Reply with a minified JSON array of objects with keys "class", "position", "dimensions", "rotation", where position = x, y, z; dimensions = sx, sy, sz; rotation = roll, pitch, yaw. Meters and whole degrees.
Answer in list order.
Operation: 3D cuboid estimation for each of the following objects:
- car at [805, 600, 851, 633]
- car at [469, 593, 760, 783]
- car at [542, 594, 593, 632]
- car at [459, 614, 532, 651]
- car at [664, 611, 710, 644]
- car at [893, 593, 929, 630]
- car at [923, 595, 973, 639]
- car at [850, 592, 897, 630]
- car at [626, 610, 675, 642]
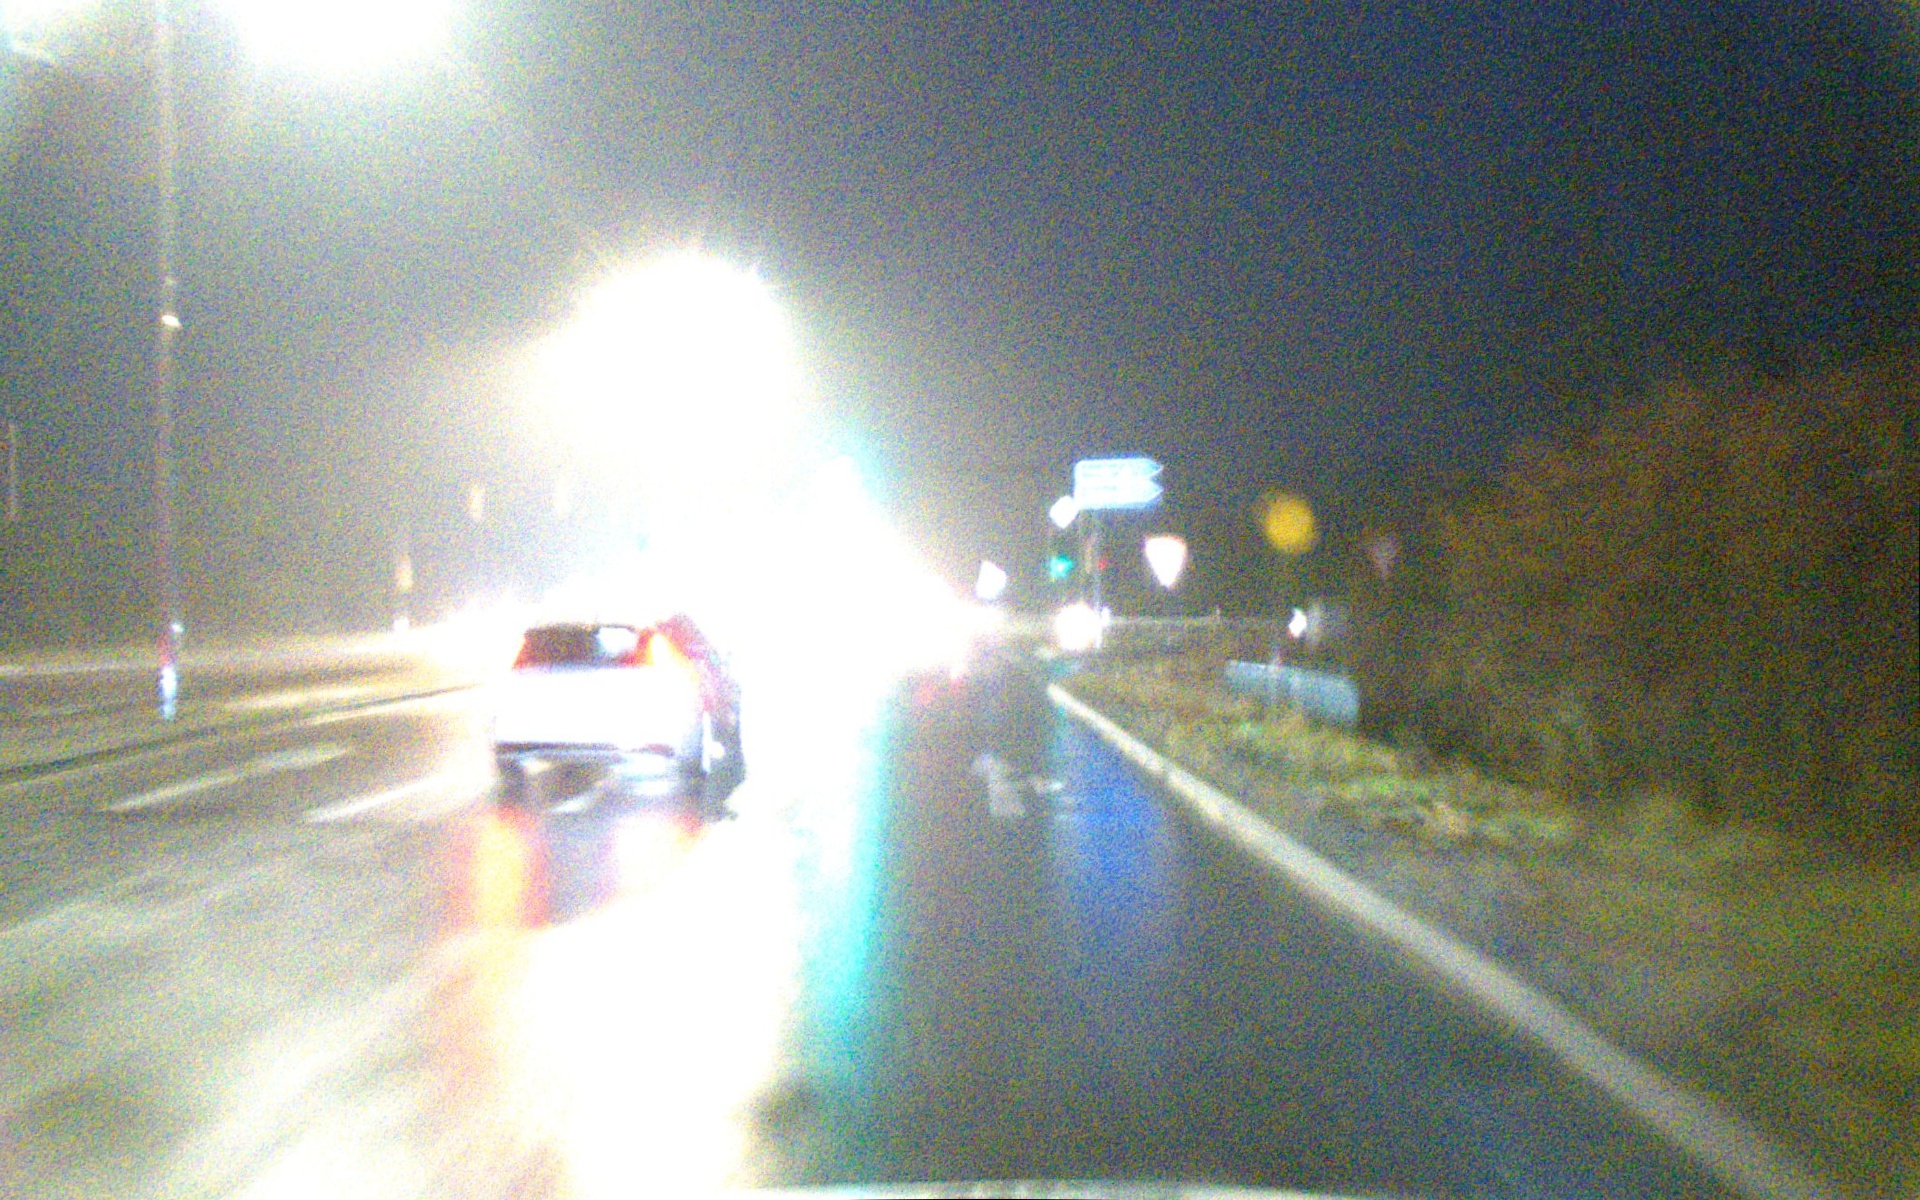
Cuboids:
[{"class":"car","position":[-7.722,1.010,97.096],"dimensions":[2.132,1.629,4.000],"rotation":[4,-3,3]},{"class":"car","position":[-2.961,0.693,15.072],"dimensions":[1.759,1.477,4.268],"rotation":[0,0,0]},{"class":"car","position":[-20.244,0.669,85.427],"dimensions":[1.726,1.925,4.204],"rotation":[0,0,-1]},{"class":"car","position":[-15.973,1.102,56.963],"dimensions":[1.610,1.224,3.613],"rotation":[0,0,-2]},{"class":"car","position":[-12.606,1.242,76.561],"dimensions":[1.557,1.452,3.350],"rotation":[0,0,0]},{"class":"car","position":[-2.909,0.695,99.691],"dimensions":[1.953,1.871,3.998],"rotation":[5,-3,0]},{"class":"car","position":[-0.508,0.786,72.203],"dimensions":[1.870,1.629,4.000],"rotation":[4,-3,3]},{"class":"car","position":[-4.470,0.584,85.583],"dimensions":[2.133,1.629,3.999],"rotation":[4,-3,0]},{"class":"car","position":[-16.262,1.337,87.145],"dimensions":[1.745,1.636,4.244],"rotation":[0,0,1]}]
